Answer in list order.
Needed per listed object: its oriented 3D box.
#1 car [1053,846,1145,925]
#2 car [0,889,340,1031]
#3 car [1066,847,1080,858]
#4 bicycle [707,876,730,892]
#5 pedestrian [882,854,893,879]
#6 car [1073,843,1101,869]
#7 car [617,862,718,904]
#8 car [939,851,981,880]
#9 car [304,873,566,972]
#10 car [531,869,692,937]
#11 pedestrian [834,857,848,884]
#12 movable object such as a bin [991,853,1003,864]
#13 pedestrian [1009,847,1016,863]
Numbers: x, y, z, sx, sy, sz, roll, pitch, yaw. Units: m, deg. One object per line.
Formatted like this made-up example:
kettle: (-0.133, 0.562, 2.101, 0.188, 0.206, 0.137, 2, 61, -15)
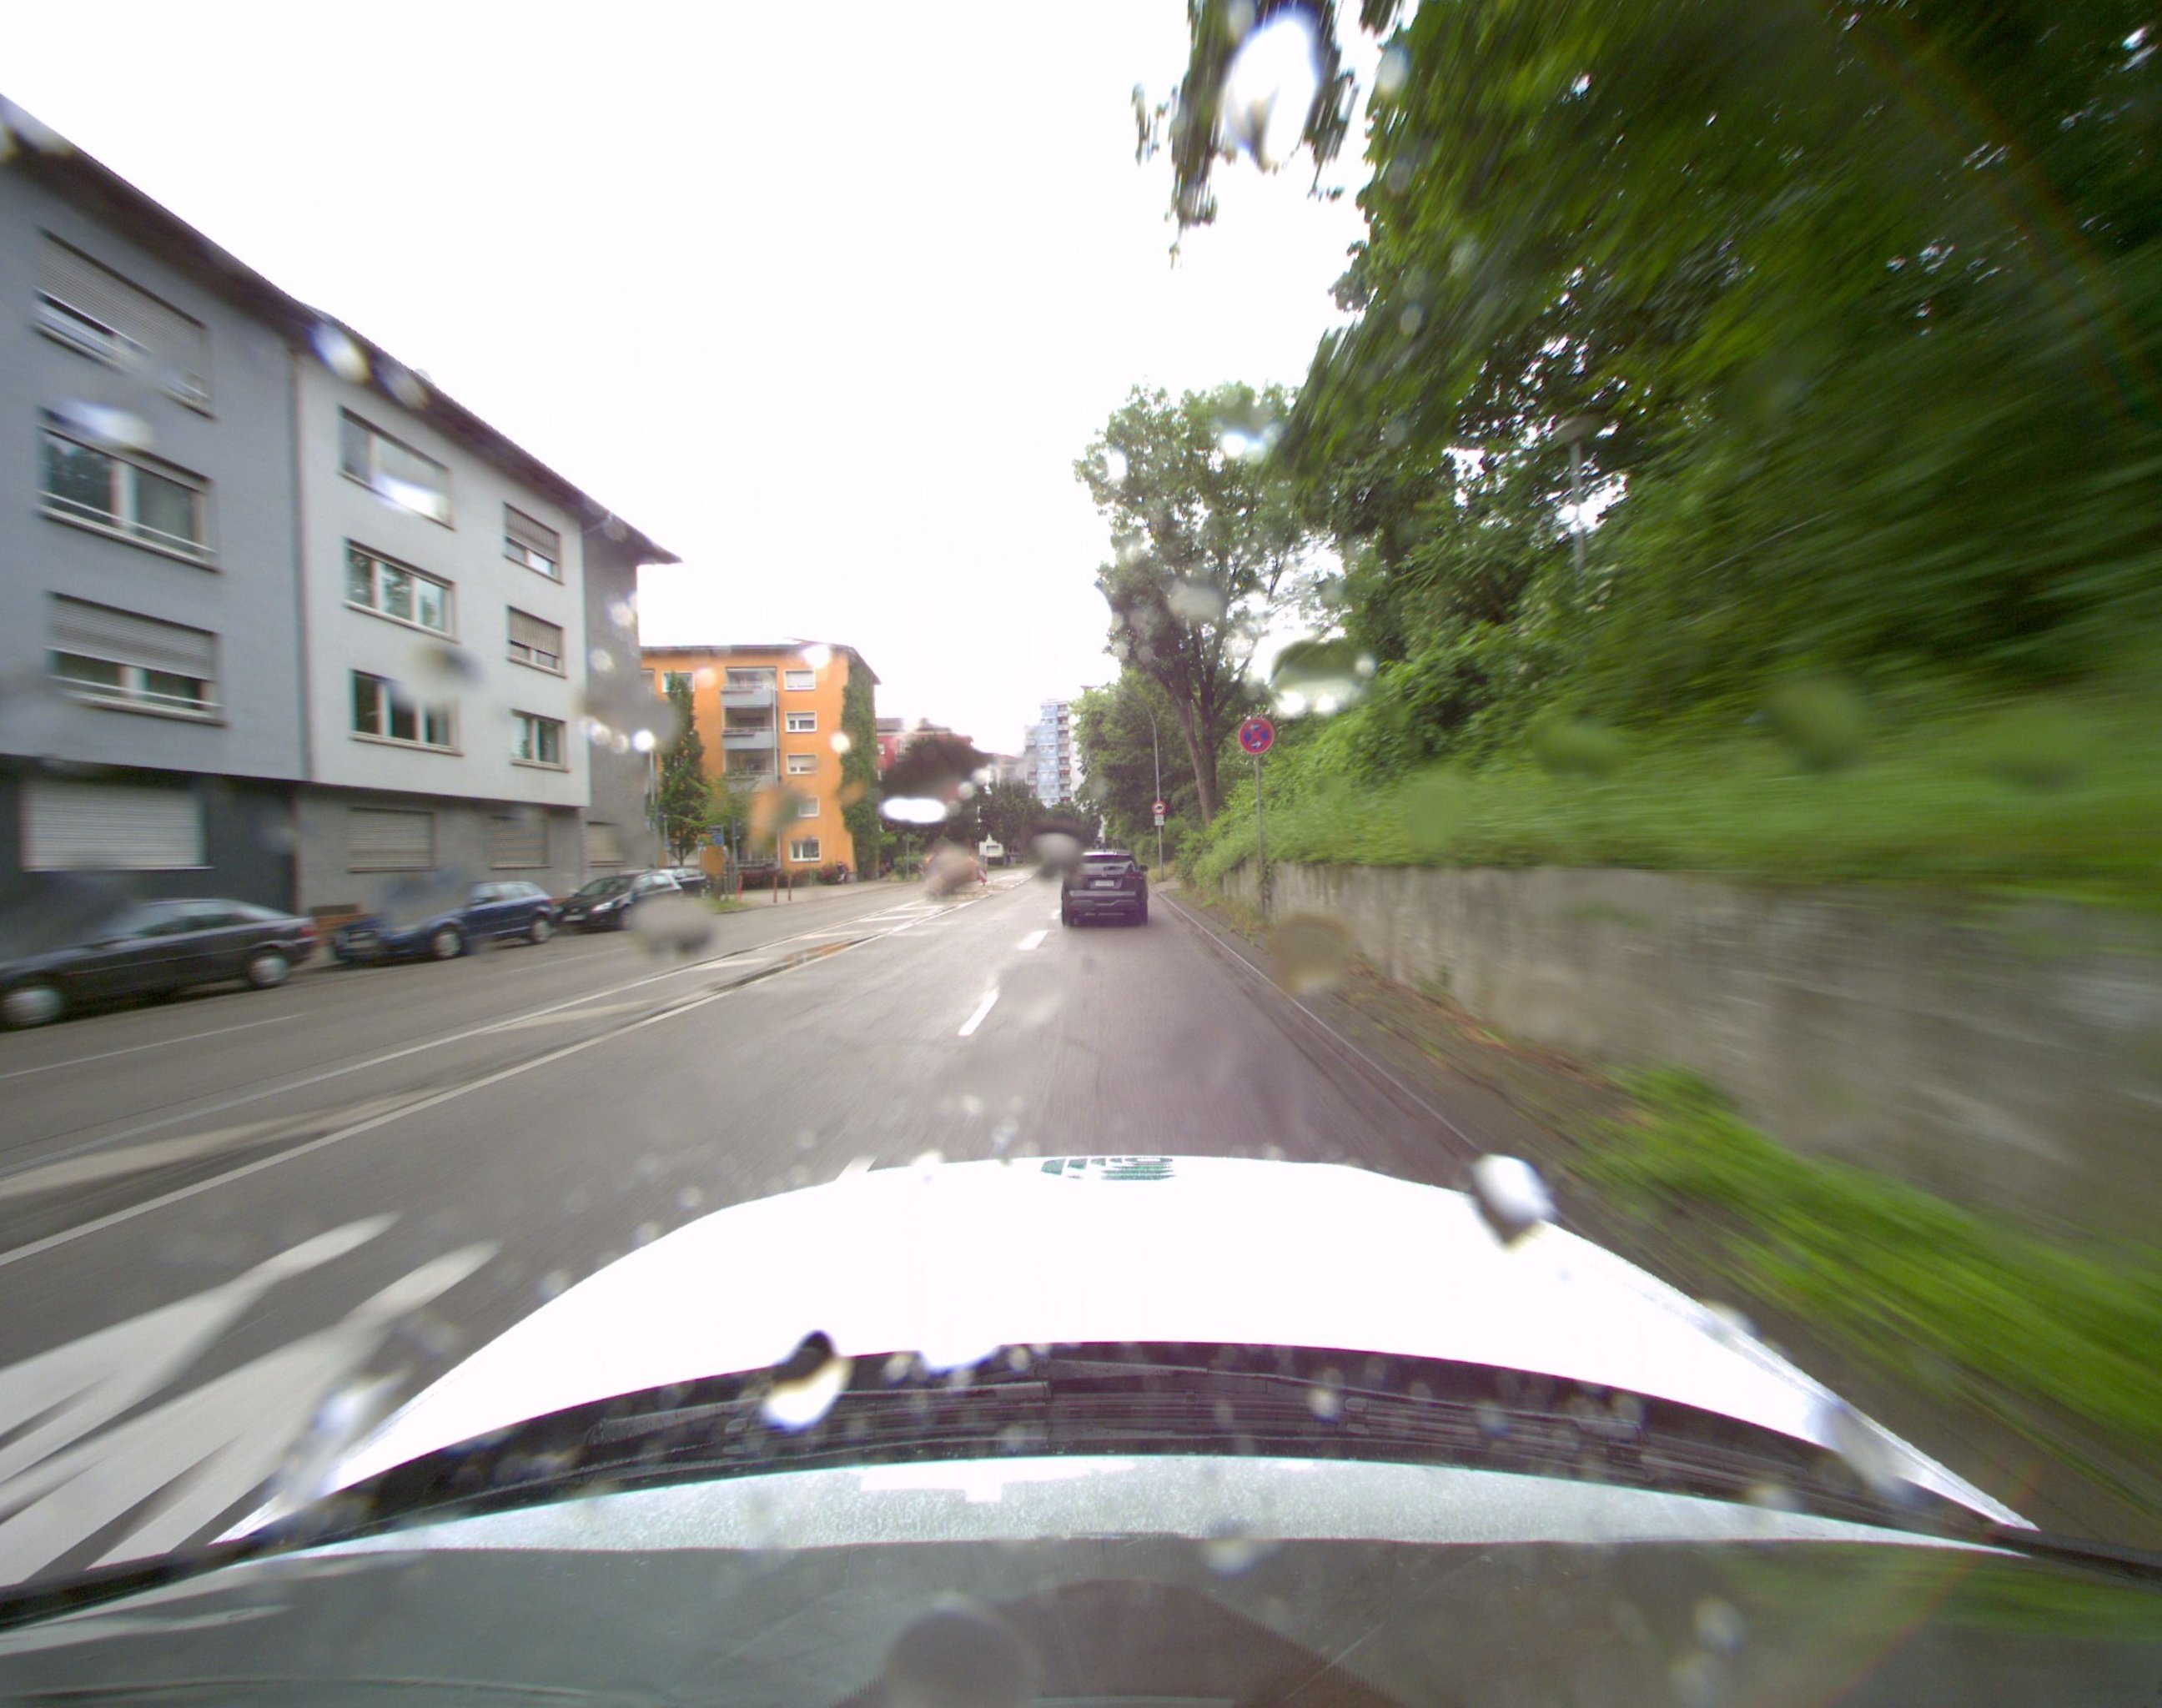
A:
car: (0.369, 0.629, 18.461, 1.839, 1.582, 3.999, -1, 0, 0)
car: (-12.605, 1.311, 10.579, 1.683, 1.358, 4.577, -5, 0, -1)
car: (-1.372, -0.356, 146.473, 1.789, 1.841, 4.009, -2, 0, 8)
bicycle: (-19.354, 1.604, 43.552, 0.462, 0.749, 1.547, -2, 0, 2)
pedestrian: (-13.500, 0.857, 56.858, 0.607, 1.674, 0.594, -2, 0, -2)
car: (0.433, 0.163, 57.606, 1.881, 1.711, 4.000, -2, 0, 0)
car: (-16.792, 1.122, 33.355, 1.716, 1.432, 4.415, -3, 0, 2)
car: (-7.050, 0.630, 47.884, 1.782, 1.504, 4.647, -3, 0, -1)
car: (-12.474, 1.235, 16.162, 1.675, 1.449, 4.275, -5, 0, 0)
car: (-12.447, 1.230, 21.974, 1.707, 1.425, 4.322, -4, 0, 0)
pedestrian: (-14.646, 0.983, 49.701, 0.584, 1.604, 0.661, -3, 0, 2)
movable object such as a bin: (-10.801, 0.620, 104.472, 1.316, 1.361, 1.259, -2, 0, 2)
pedestrian: (-8.823, 0.081, 105.309, 0.713, 2.013, 0.950, -2, 0, 2)
